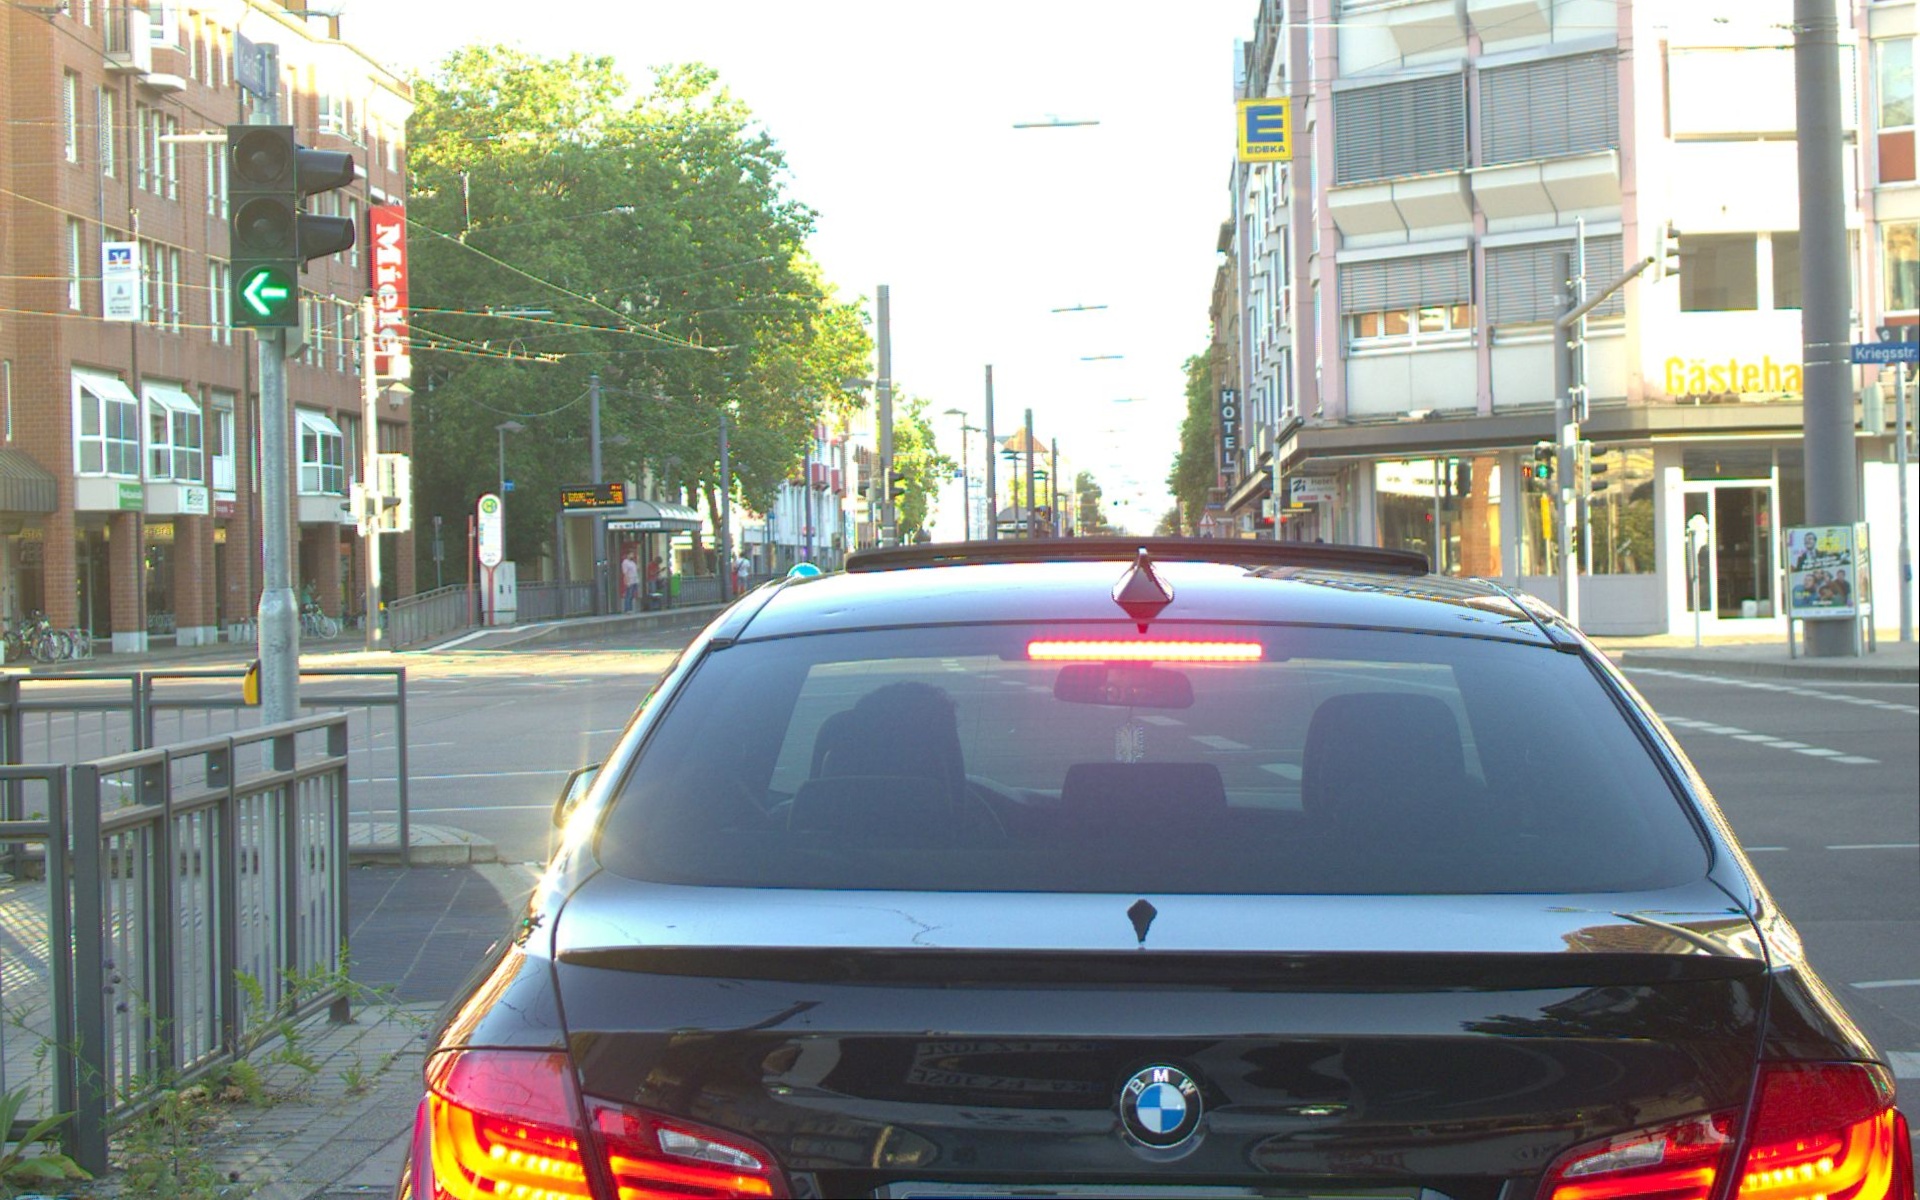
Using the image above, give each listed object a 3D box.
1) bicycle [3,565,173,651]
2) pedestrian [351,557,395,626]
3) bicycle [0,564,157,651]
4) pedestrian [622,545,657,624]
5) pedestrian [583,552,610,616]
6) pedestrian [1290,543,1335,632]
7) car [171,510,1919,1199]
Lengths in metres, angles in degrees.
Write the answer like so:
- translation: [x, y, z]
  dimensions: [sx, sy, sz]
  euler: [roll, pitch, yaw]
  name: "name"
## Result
- translation: [-18.513, 0.170, 73.043]
  dimensions: [3.297, 1.720, 1.069]
  euler: [-1, 1, 2]
  name: "bicycle"
- translation: [-17.350, -0.246, 101.700]
  dimensions: [1.085, 2.007, 1.084]
  euler: [-1, 1, -1]
  name: "pedestrian"
- translation: [-18.585, 0.161, 71.875]
  dimensions: [3.297, 1.720, 1.069]
  euler: [-1, 1, 3]
  name: "bicycle"
- translation: [-8.313, -0.400, 89.214]
  dimensions: [0.808, 2.007, 0.678]
  euler: [-2, 1, 0]
  name: "pedestrian"
- translation: [-9.452, -0.423, 89.434]
  dimensions: [0.584, 1.651, 0.678]
  euler: [-2, 1, 0]
  name: "pedestrian"
- translation: [6.289, -0.227, 61.359]
  dimensions: [0.705, 1.543, 0.907]
  euler: [0, 4, 0]
  name: "pedestrian"
- translation: [0.180, 0.644, 5.265]
  dimensions: [1.841, 1.490, 4.292]
  euler: [1, 1, -1]
  name: "car"
